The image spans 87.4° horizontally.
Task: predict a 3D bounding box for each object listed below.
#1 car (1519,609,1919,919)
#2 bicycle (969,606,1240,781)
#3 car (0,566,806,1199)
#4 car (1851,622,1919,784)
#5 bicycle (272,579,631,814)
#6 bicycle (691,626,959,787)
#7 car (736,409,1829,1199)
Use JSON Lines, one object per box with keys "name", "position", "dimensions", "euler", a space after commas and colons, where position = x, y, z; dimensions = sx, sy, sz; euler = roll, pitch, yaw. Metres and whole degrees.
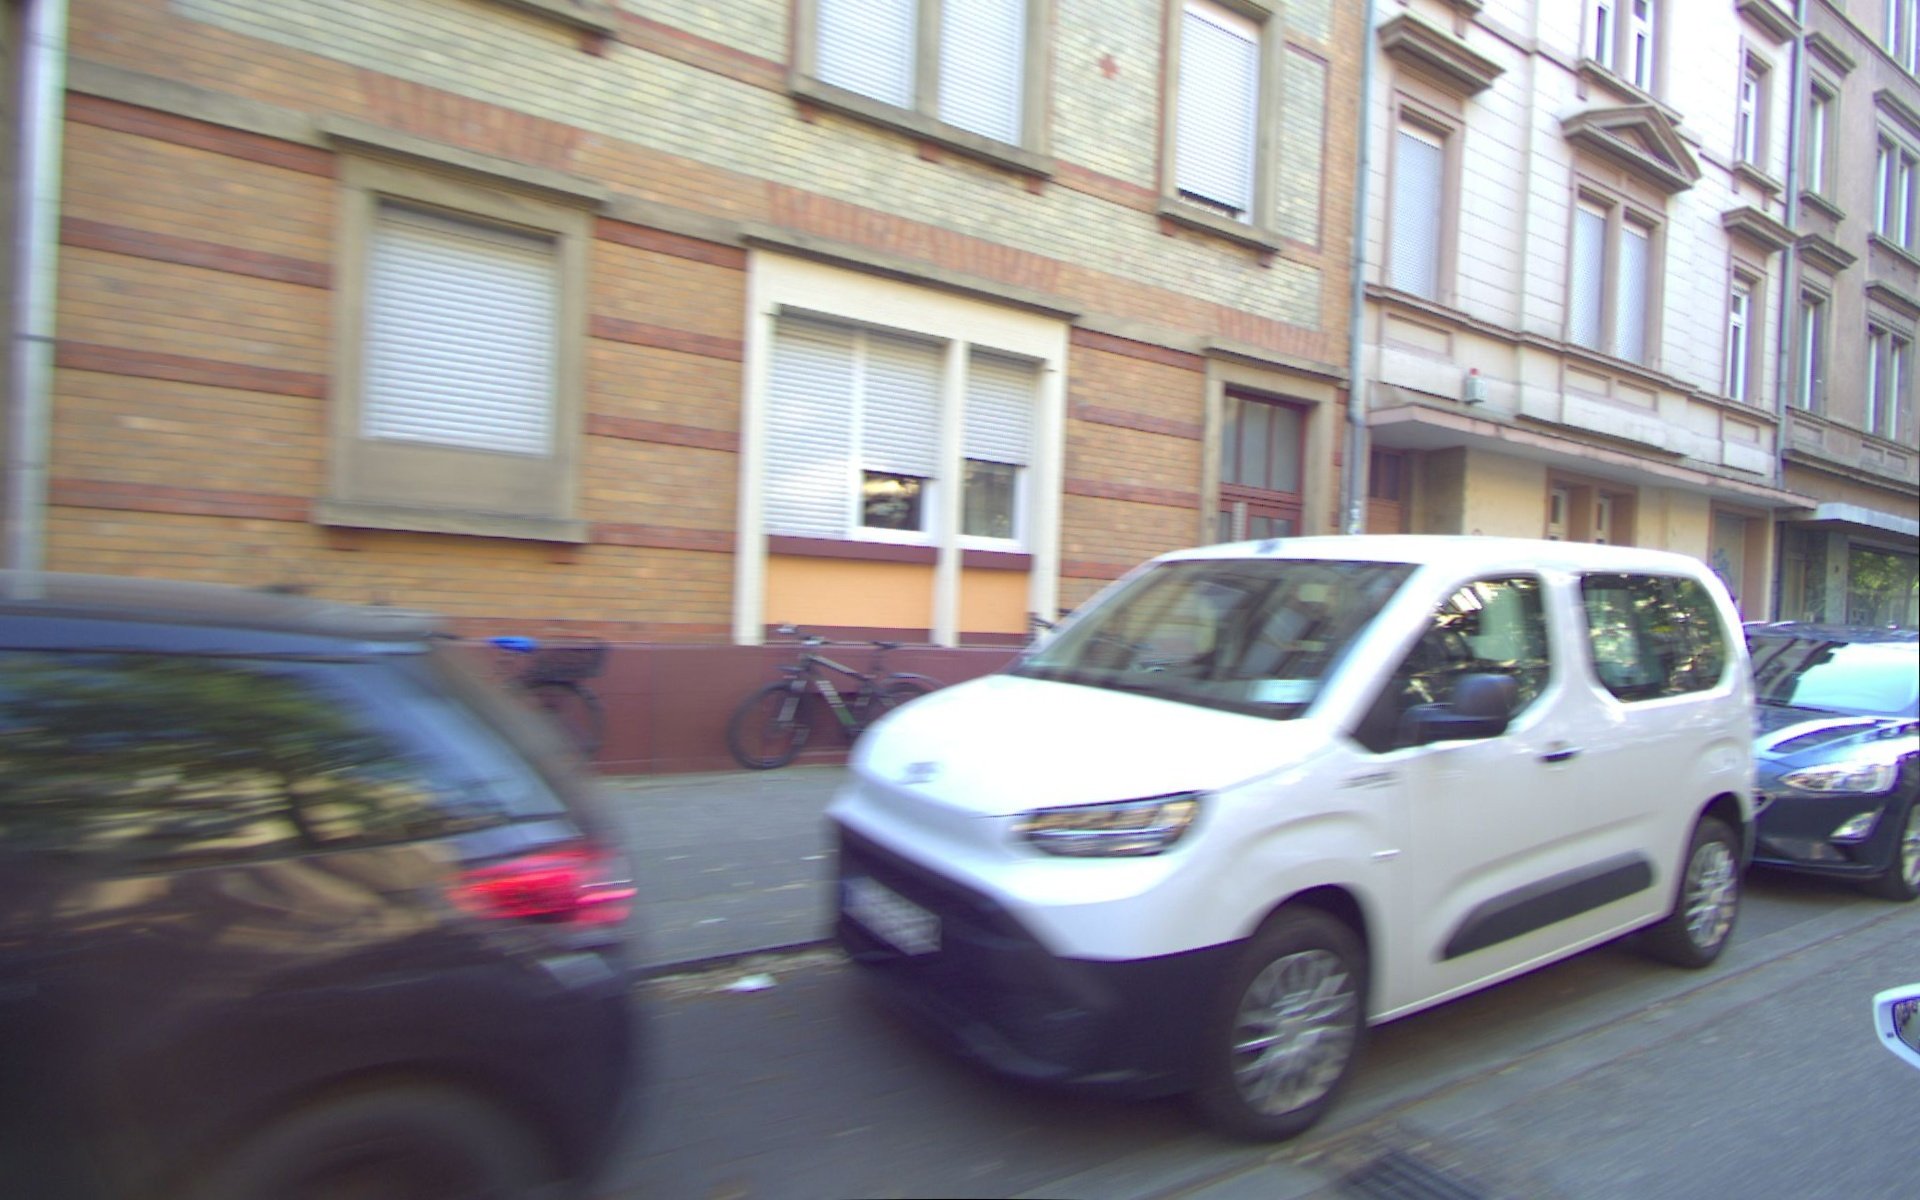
{"name": "car", "position": [5.844, 0.875, 6.840], "dimensions": [4.197, 1.492, 1.737], "euler": [2, 0, -32]}
{"name": "bicycle", "position": [1.318, 0.737, 8.623], "dimensions": [2.646, 1.297, 0.623], "euler": [2, 1, -38]}
{"name": "car", "position": [-2.354, 0.652, 1.718], "dimensions": [3.784, 1.440, 1.627], "euler": [2, 1, -33]}
{"name": "car", "position": [10.907, 1.021, 10.021], "dimensions": [4.494, 1.463, 1.875], "euler": [2, 0, -33]}
{"name": "bicycle", "position": [-3.063, 0.549, 6.184], "dimensions": [1.888, 1.274, 0.491], "euler": [2, 1, -32]}
{"name": "bicycle", "position": [-0.949, 0.733, 7.353], "dimensions": [1.888, 1.037, 0.491], "euler": [2, 1, -32]}
{"name": "car", "position": [1.588, 0.542, 4.206], "dimensions": [4.556, 1.858, 1.831], "euler": [2, 1, -33]}
